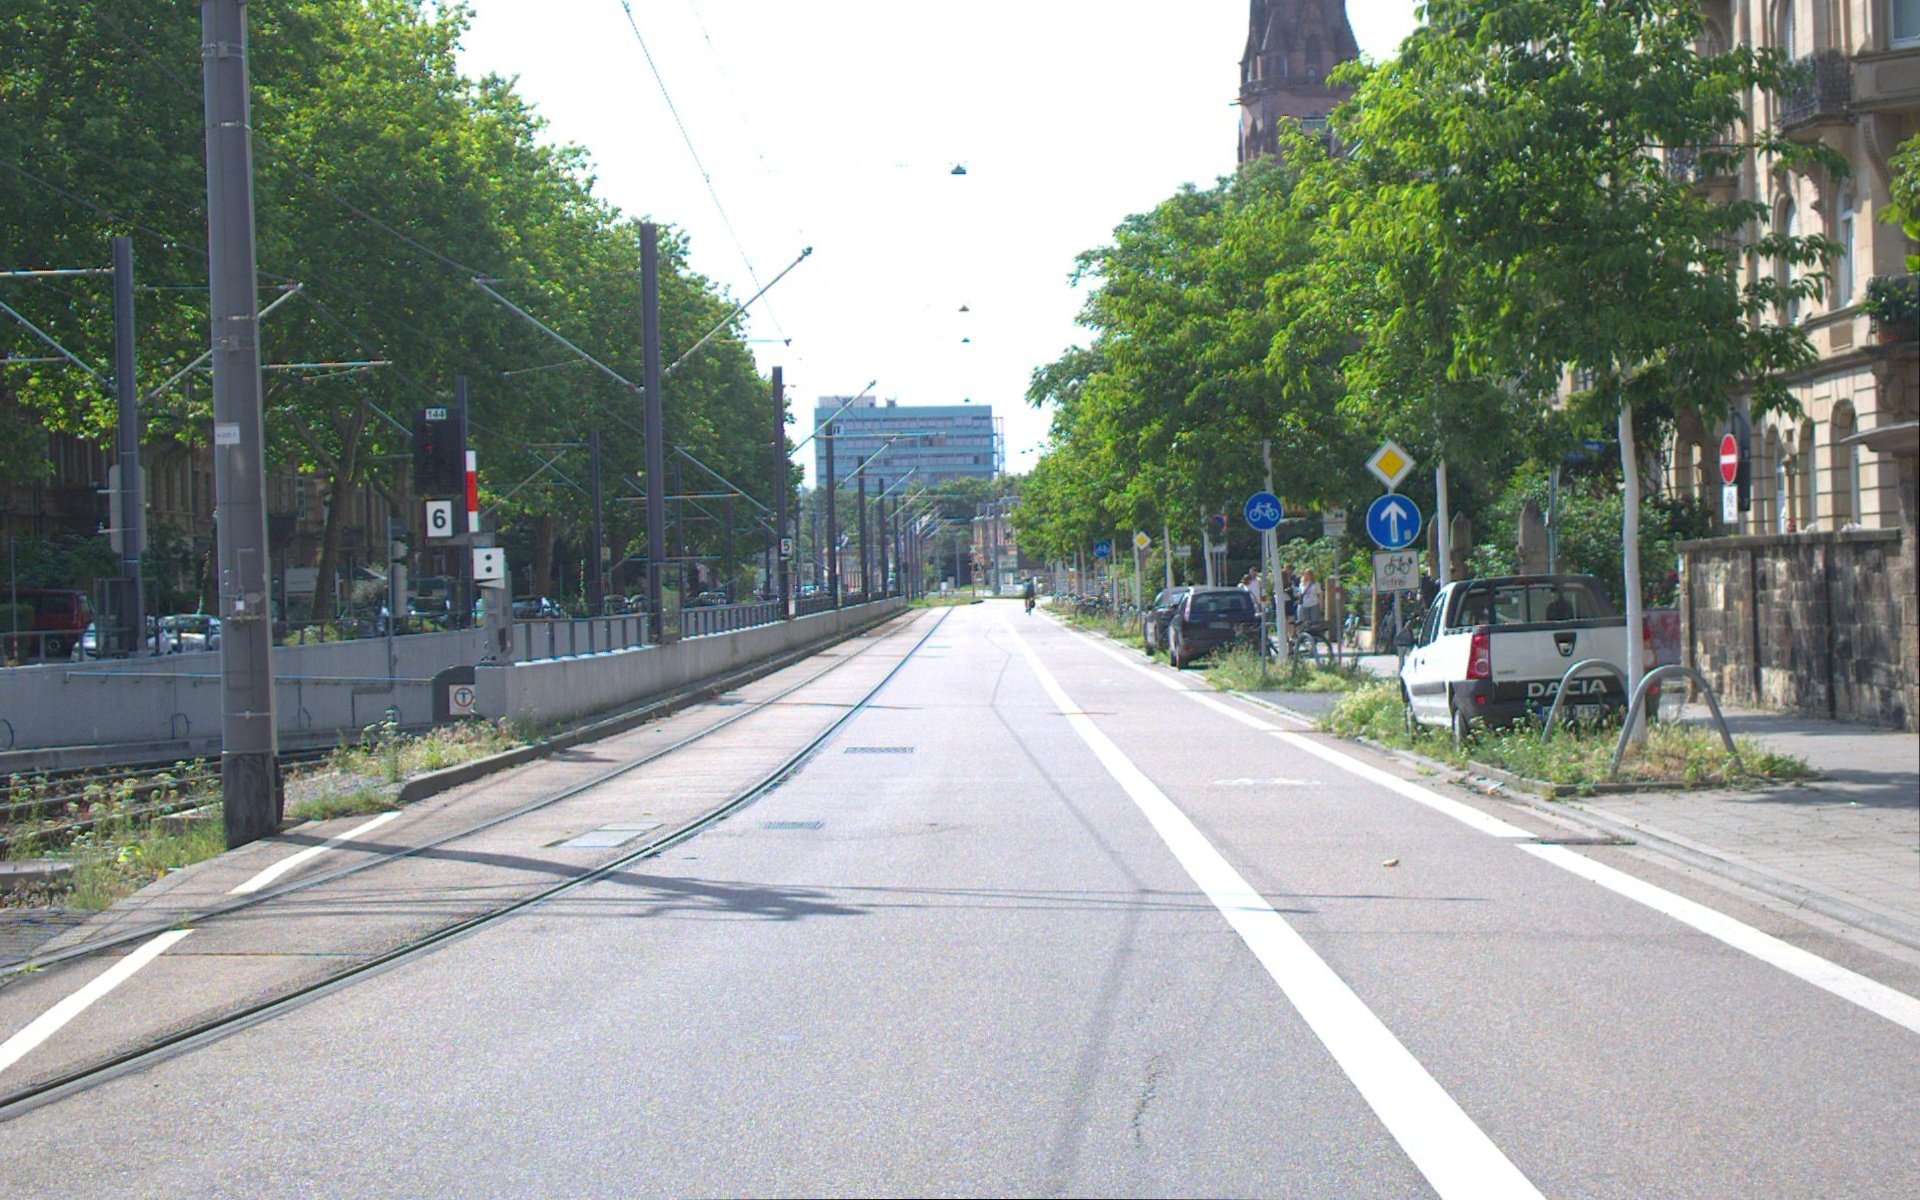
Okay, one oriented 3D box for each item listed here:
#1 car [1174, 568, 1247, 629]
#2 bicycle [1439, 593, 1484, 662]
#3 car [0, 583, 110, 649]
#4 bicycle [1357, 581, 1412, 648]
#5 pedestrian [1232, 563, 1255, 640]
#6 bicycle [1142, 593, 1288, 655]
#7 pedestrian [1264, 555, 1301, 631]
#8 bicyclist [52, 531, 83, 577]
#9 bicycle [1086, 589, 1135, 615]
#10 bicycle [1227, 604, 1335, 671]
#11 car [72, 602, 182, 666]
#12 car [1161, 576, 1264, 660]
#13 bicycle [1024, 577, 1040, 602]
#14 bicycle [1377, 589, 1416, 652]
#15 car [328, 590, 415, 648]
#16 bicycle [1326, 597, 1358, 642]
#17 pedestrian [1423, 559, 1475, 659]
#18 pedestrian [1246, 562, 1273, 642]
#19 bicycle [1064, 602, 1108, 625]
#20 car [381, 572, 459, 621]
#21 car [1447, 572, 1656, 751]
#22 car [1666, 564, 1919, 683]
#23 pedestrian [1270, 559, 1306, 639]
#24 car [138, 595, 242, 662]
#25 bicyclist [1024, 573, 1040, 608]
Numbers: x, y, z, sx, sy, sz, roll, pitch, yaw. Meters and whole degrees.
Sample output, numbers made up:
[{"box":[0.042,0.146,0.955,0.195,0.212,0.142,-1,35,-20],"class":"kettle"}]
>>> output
[{"box":[6.169,-0.060,84.468,1.669,1.411,3.585,-1,1,6],"class":"car"},{"box":[8.248,0.439,56.569,0.470,1.104,1.711,-1,0,1],"class":"bicycle"},{"box":[-27.848,0.484,102.704,4.401,1.912,2.000,-1,0,-1],"class":"car"},{"box":[8.309,0.272,67.407,0.658,1.244,2.943,-4,0,1],"class":"bicycle"},{"box":[6.419,0.036,77.846,0.318,1.701,0.460,-4,0,14],"class":"pedestrian"},{"box":[5.401,0.499,72.697,2.945,1.242,0.793,-1,0,-12],"class":"bicycle"},{"box":[7.205,-0.155,76.769,0.528,1.670,0.575,-4,0,-18],"class":"pedestrian"},{"box":[-28.914,-1.483,111.397,0.688,1.450,1.044,-1,0,1],"class":"bicyclist"},{"box":[5.915,0.096,134.981,1.816,0.899,0.652,-4,1,-2],"class":"bicycle"},{"box":[5.336,0.626,57.111,1.705,1.066,0.471,-1,0,-5],"class":"bicycle"},{"box":[-19.367,0.771,80.066,1.497,1.299,3.491,-4,1,3],"class":"car"},{"box":[4.825,0.320,66.204,1.686,1.497,4.708,-1,0,1],"class":"car"},{"box":[3.606,-0.546,172.450,0.799,1.232,2.777,-1,0,1],"class":"bicycle"},{"box":[8.191,0.370,64.552,0.427,1.136,2.023,-4,0,1],"class":"bicycle"},{"box":[-19.273,0.602,112.682,1.718,1.685,3.729,-3,1,7],"class":"car"},{"box":[8.278,0.412,74.540,0.427,0.937,1.807,-4,0,1],"class":"bicycle"},{"box":[8.054,0.144,56.662,0.723,1.623,0.725,-1,0,1],"class":"pedestrian"},{"box":[6.852,0.036,78.600,0.459,1.798,0.319,-4,0,-1],"class":"pedestrian"},{"box":[5.550,0.587,151.192,1.816,0.899,0.604,-4,1,-2],"class":"bicycle"},{"box":[-19.922,-0.134,126.969,1.994,1.631,4.000,-4,1,3],"class":"car"},{"box":[5.113,0.479,29.950,1.669,1.411,3.843,0,1,9],"class":"car"},{"box":[11.886,0.316,48.000,3.742,1.550,1.756,-1,0,4],"class":"car"},{"box":[7.511,-0.020,78.674,0.669,1.798,0.319,-4,0,-1],"class":"pedestrian"},{"box":[-19.342,0.698,86.514,1.643,1.477,4.002,-4,1,0],"class":"car"},{"box":[3.602,-0.479,172.566,0.770,1.724,1.026,-1,0,1],"class":"bicyclist"}]
